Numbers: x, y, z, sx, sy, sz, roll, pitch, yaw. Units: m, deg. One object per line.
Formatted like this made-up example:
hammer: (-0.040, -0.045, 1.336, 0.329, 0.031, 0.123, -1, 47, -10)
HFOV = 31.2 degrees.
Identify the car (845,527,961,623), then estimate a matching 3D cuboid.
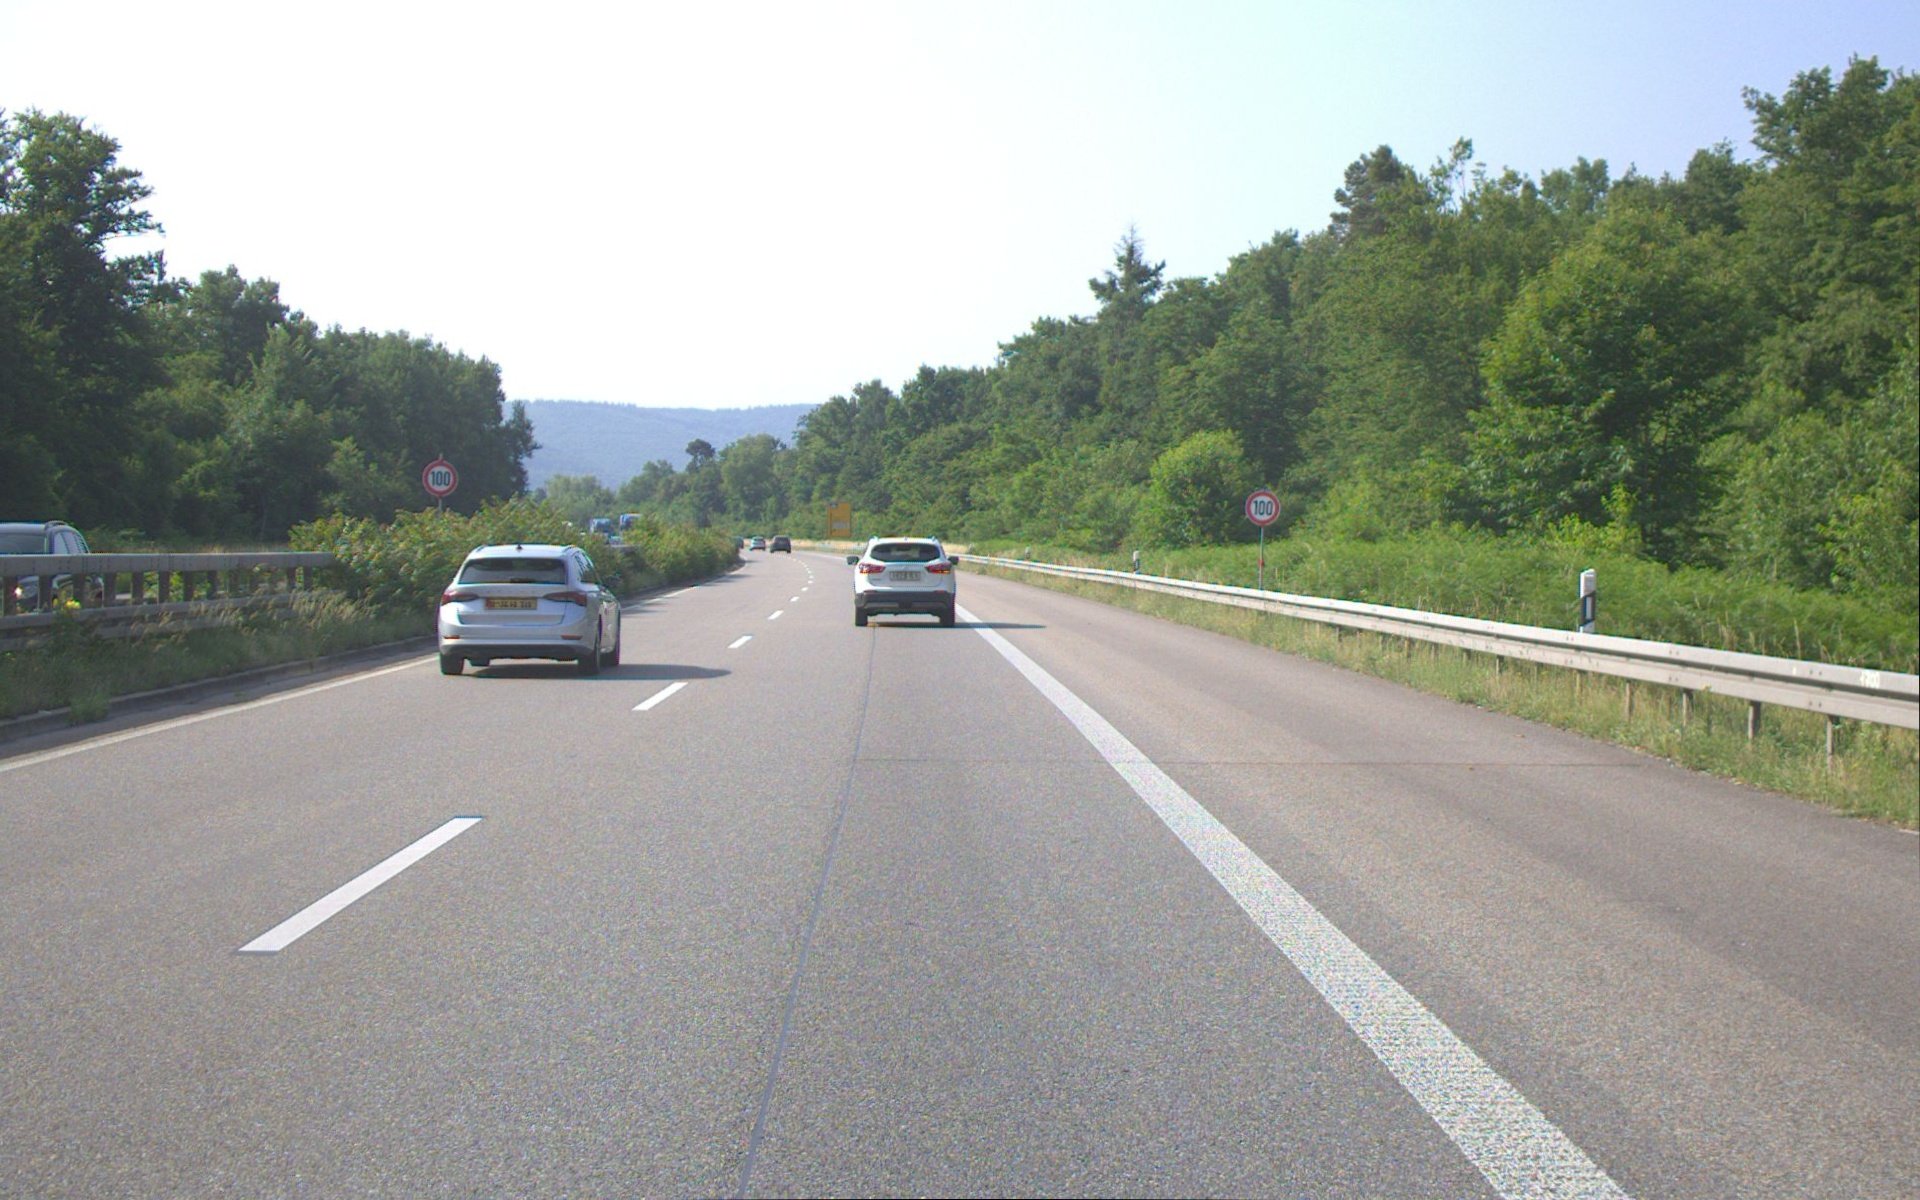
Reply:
car: (-1.055, -0.471, 61.874, 1.873, 1.580, 4.001, 2, 1, -3)

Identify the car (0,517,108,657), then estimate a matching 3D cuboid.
car: (-12.160, -0.202, 43.604, 1.686, 1.683, 4.168, 1, 1, -1)

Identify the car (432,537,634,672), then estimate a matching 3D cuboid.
car: (-4.871, 0.000, 39.844, 1.792, 1.433, 5.279, 0, 1, -1)
